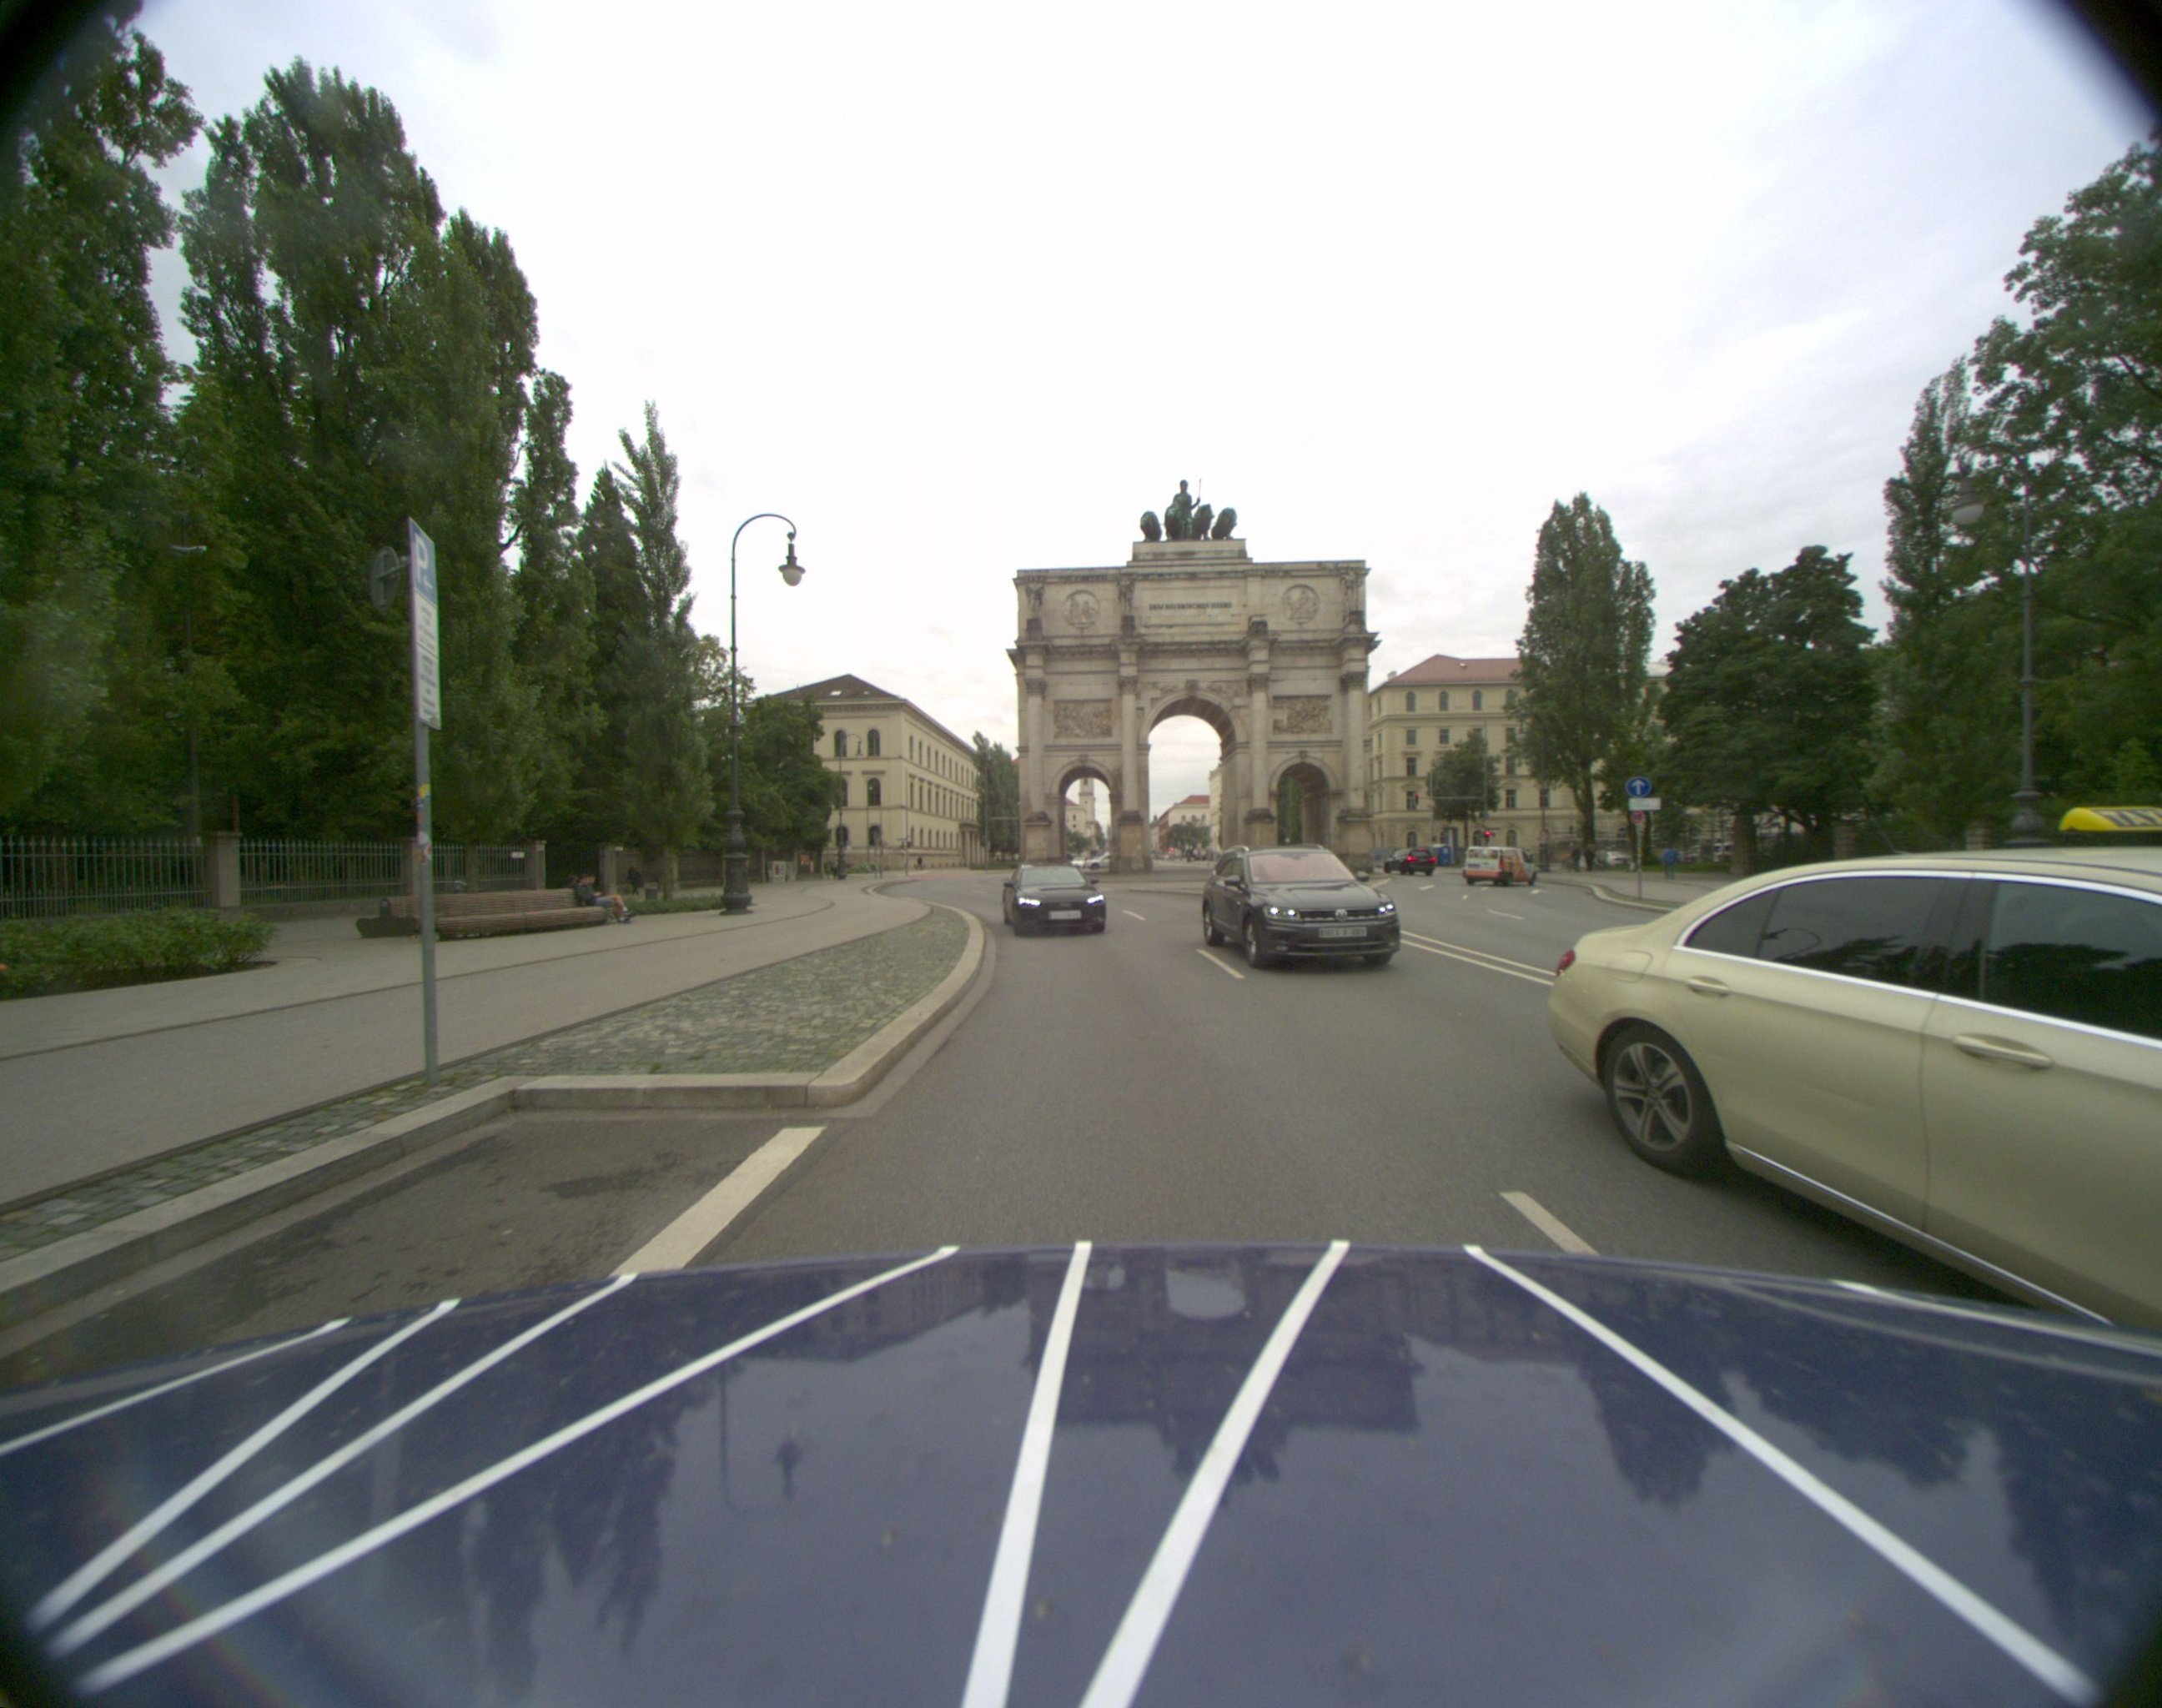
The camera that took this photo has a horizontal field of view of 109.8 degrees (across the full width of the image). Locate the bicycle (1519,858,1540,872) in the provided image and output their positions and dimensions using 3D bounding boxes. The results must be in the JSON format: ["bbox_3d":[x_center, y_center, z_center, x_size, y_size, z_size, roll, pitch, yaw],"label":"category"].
[{"bbox_3d":[31.569,0.784,53.511,0.643,0.968,1.762,-1,1,8],"label":"bicycle"}]

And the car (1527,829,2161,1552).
[{"bbox_3d":[3.380,0.755,1.790,1.919,1.566,4.688,-3,1,1],"label":"car"}]

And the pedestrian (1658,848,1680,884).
[{"bbox_3d":[30.336,0.611,39.199,0.917,1.775,0.752,-2,1,-42],"label":"pedestrian"}]

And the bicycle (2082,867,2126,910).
[{"bbox_3d":[27.461,0.916,20.398,1.742,1.058,0.635,-1,1,-35],"label":"bicycle"}]

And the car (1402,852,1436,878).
[{"bbox_3d":[23.023,0.708,51.821,1.783,1.662,4.005,-1,1,19],"label":"car"}]

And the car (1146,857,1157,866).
[{"bbox_3d":[16.237,1.676,175.220,1.998,2.002,4.442,-1,0,0],"label":"car"}]

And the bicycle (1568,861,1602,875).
[{"bbox_3d":[34.013,0.932,51.295,0.645,0.968,1.757,-2,1,-40],"label":"bicycle"}]

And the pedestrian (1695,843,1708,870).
[{"bbox_3d":[46.410,0.157,56.834,0.533,2.002,0.594,-1,1,-7],"label":"pedestrian"}]

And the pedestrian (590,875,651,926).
[{"bbox_3d":[-11.869,1.175,19.614,1.268,1.209,0.574,-3,1,-27],"label":"pedestrian"}]

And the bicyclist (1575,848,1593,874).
[{"bbox_3d":[33.988,0.453,51.312,0.645,1.700,0.858,-2,1,-40],"label":"bicyclist"}]

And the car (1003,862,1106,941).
[{"bbox_3d":[-0.689,0.941,16.884,1.923,1.320,4.409,-3,1,-5],"label":"car"}]

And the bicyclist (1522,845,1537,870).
[{"bbox_3d":[31.549,0.243,53.467,0.643,1.700,0.860,-1,1,8],"label":"bicyclist"}]

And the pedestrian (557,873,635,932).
[{"bbox_3d":[-11.334,1.117,17.807,1.331,1.267,0.807,-3,1,-20],"label":"pedestrian"}]

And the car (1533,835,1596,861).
[{"bbox_3d":[40.566,-0.505,63.762,3.996,2.002,2.000,-1,1,3],"label":"car"}]

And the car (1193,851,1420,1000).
[{"bbox_3d":[2.999,0.844,11.212,1.953,1.615,4.410,-3,1,0],"label":"car"}]

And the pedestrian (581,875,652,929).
[{"bbox_3d":[-11.511,1.169,18.874,1.371,1.200,0.806,-3,1,-26],"label":"pedestrian"}]

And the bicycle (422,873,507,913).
[{"bbox_3d":[-21.592,1.338,26.715,0.674,1.232,2.998,0,0,-3],"label":"bicycle"}]

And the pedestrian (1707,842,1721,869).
[{"bbox_3d":[47.076,0.139,56.483,0.533,2.002,0.594,-1,1,-7],"label":"pedestrian"}]

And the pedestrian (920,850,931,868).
[{"bbox_3d":[-17.627,0.575,86.355,0.944,2.002,1.003,-1,1,4],"label":"pedestrian"}]

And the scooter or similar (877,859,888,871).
[{"bbox_3d":[-20.542,1.128,78.685,0.567,1.135,1.657,-1,1,5],"label":"scooter or similar"}]

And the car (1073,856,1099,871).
[{"bbox_3d":[0.611,1.107,89.968,1.784,1.740,4.326,-1,1,19],"label":"car"}]

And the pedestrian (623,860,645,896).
[{"bbox_3d":[-20.523,1.112,34.866,0.591,1.611,0.536,-2,1,3],"label":"pedestrian"}]

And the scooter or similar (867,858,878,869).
[{"bbox_3d":[-21.462,0.976,78.181,0.567,1.135,1.657,-1,1,5],"label":"scooter or similar"}]

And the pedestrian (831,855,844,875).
[{"bbox_3d":[-19.275,0.881,60.122,0.738,1.589,0.818,-1,1,4],"label":"pedestrian"}]

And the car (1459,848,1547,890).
[{"bbox_3d":[20.802,0.662,37.407,5.000,1.844,2.000,-1,2,-39],"label":"car"}]

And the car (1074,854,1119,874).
[{"bbox_3d":[1.544,1.004,76.430,4.311,1.846,1.890,-2,1,-4],"label":"car"}]

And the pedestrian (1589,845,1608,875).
[{"bbox_3d":[35.011,0.388,51.395,0.796,2.002,0.754,-2,1,-32],"label":"pedestrian"}]
